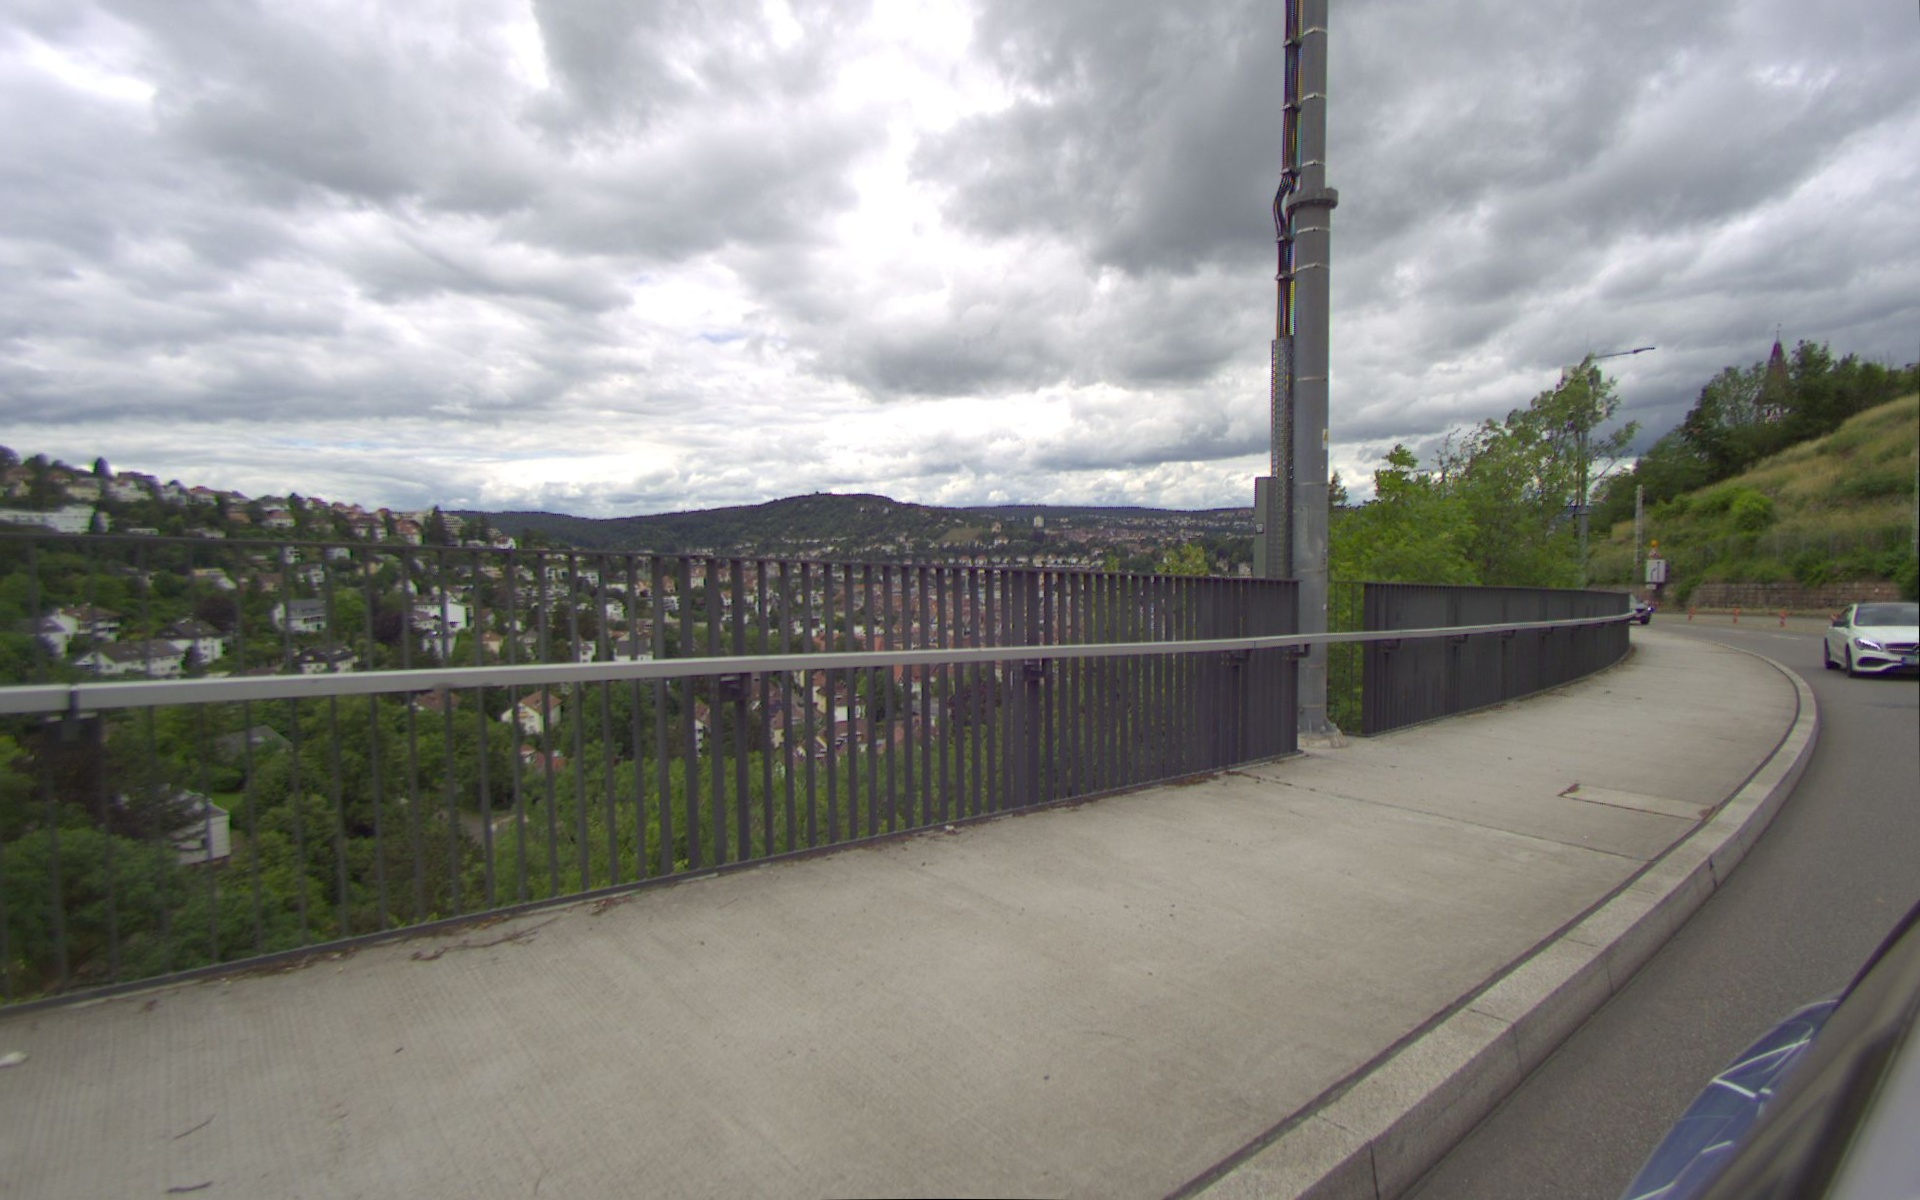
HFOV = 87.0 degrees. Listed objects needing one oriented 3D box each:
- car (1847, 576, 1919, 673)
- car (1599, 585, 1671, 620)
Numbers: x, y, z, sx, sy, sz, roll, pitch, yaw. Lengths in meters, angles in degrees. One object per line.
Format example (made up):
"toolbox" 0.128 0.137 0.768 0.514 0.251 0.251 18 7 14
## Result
"car" 18.611 0.432 19.603 1.990 1.740 3.943 -1 -1 39
"car" 33.921 0.085 50.995 1.975 1.692 4.508 0 1 20
